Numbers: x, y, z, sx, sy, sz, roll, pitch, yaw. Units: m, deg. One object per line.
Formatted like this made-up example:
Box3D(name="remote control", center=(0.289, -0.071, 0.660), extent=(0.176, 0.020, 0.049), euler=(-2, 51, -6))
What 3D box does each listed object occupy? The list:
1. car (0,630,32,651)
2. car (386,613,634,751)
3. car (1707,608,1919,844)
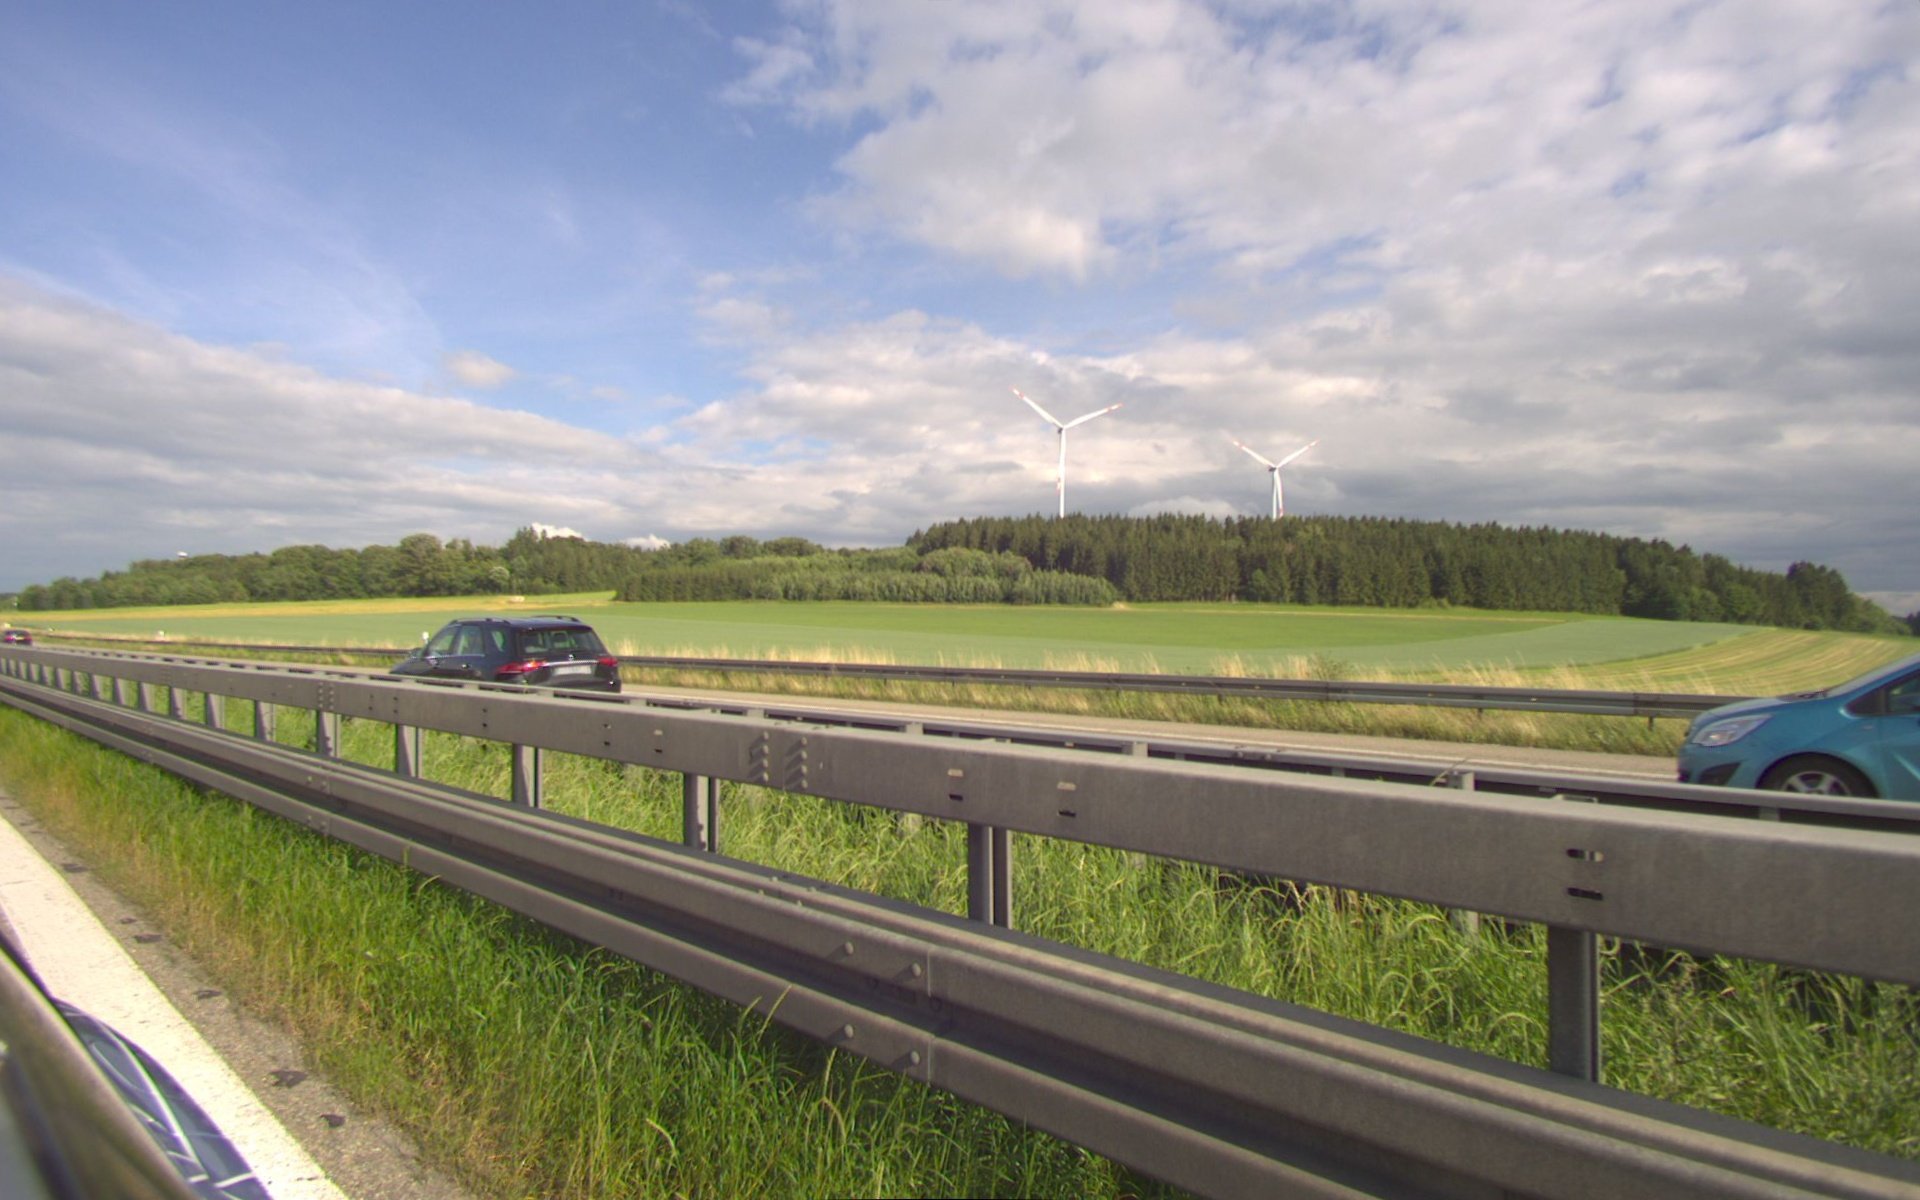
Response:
Box3D(name="car", center=(-73.297, 3.130, 78.284), extent=(4.477, 1.490, 1.732), euler=(-1, -1, 41))
Box3D(name="car", center=(-6.941, 1.110, 15.397), extent=(4.361, 1.783, 1.804), euler=(-1, -1, 41))
Box3D(name="car", center=(7.774, 0.852, 6.959), extent=(4.115, 1.600, 1.716), euler=(-1, -1, 41))
